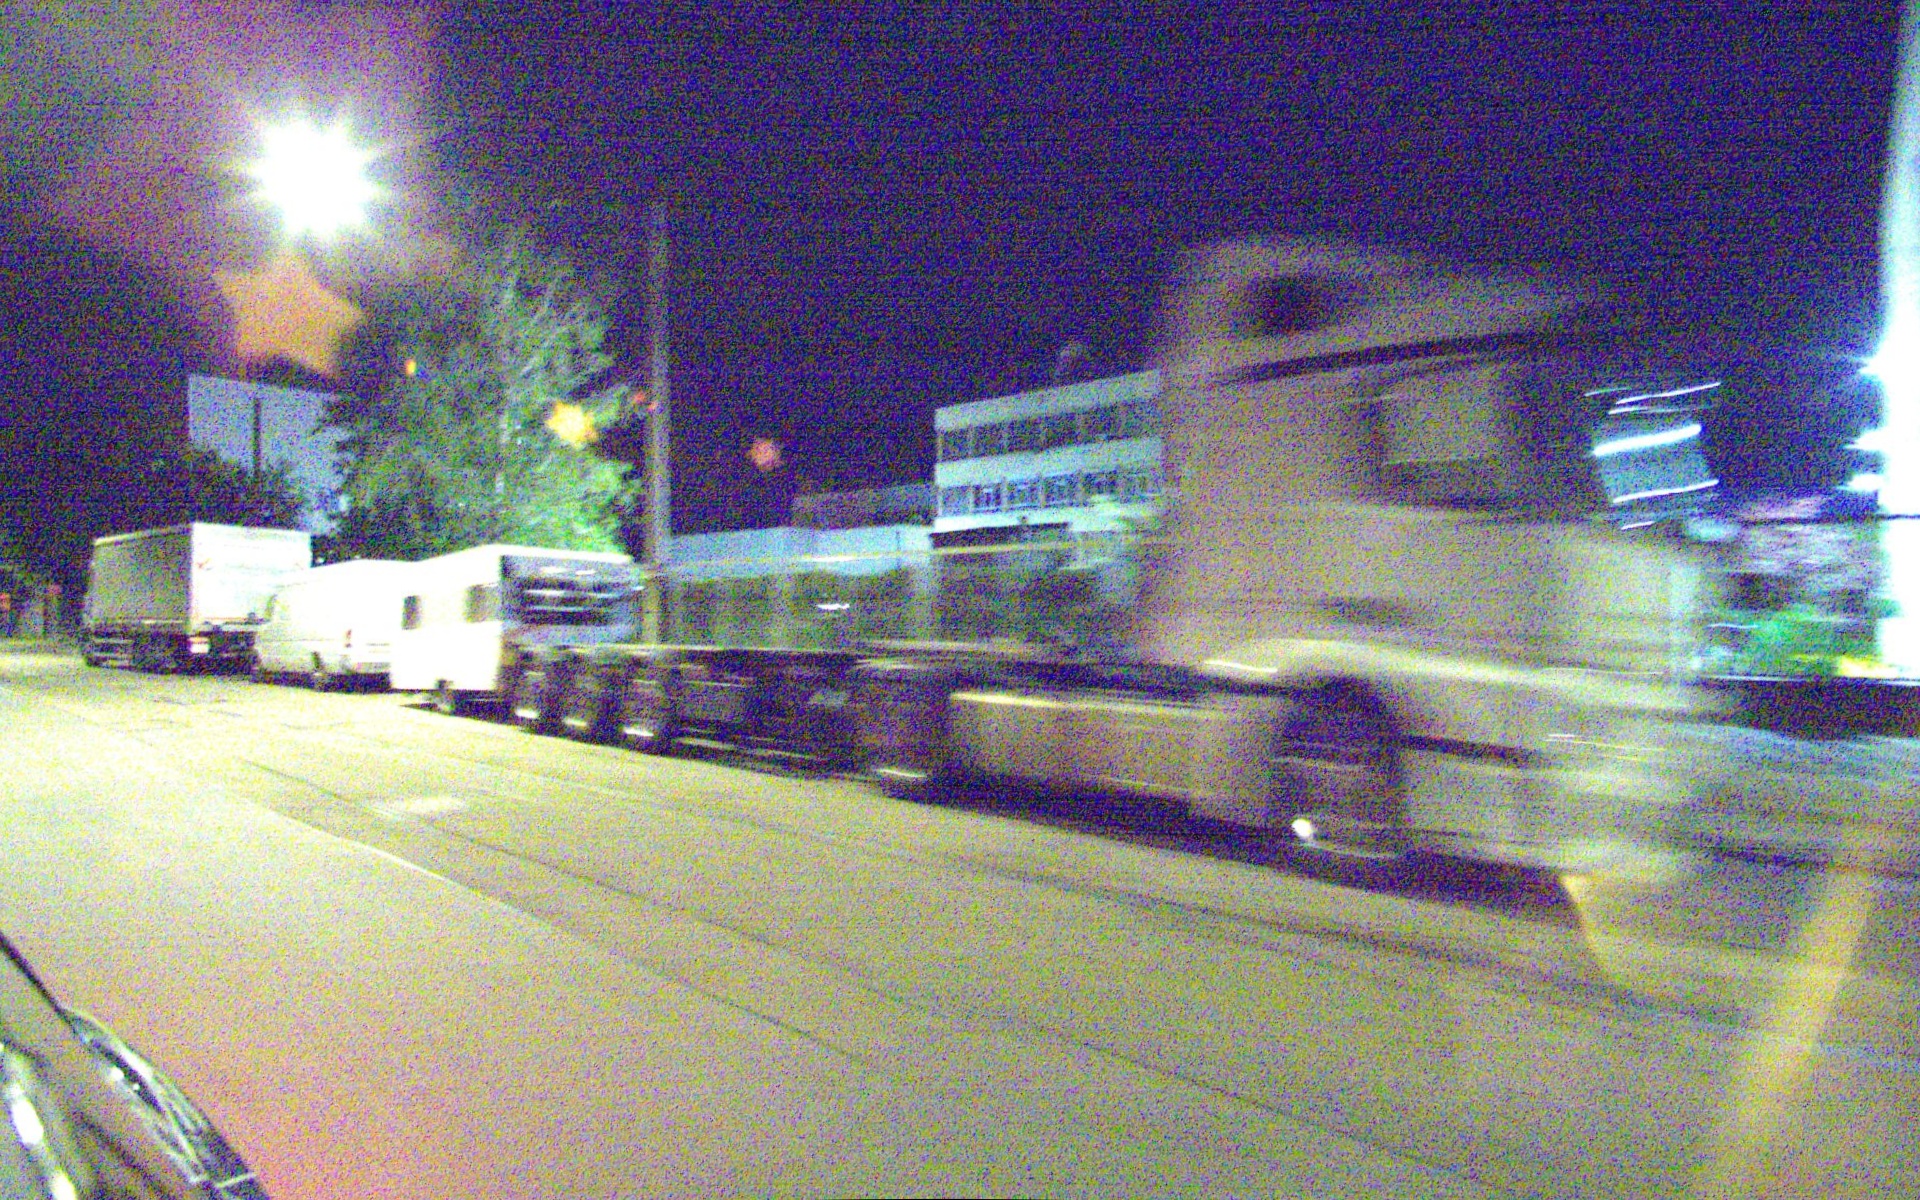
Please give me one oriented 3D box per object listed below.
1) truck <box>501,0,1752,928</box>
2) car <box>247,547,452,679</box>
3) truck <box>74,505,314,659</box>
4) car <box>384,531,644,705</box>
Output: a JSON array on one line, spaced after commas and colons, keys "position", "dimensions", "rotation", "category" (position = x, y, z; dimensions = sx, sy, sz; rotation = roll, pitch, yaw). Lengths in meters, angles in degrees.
[{"position": [-0.486, -0.704, 9.928], "dimensions": [12.826, 4.347, 2.608], "rotation": [0, -2, 44], "category": "truck"}, {"position": [-13.012, 0.262, 21.396], "dimensions": [5.740, 2.462, 1.973], "rotation": [-1, 0, 40], "category": "car"}, {"position": [-21.698, -0.383, 28.338], "dimensions": [10.387, 3.659, 2.794], "rotation": [-1, 0, 38], "category": "truck"}, {"position": [-7.080, 0.254, 15.846], "dimensions": [4.468, 2.330, 2.116], "rotation": [-1, 0, 43], "category": "car"}]
